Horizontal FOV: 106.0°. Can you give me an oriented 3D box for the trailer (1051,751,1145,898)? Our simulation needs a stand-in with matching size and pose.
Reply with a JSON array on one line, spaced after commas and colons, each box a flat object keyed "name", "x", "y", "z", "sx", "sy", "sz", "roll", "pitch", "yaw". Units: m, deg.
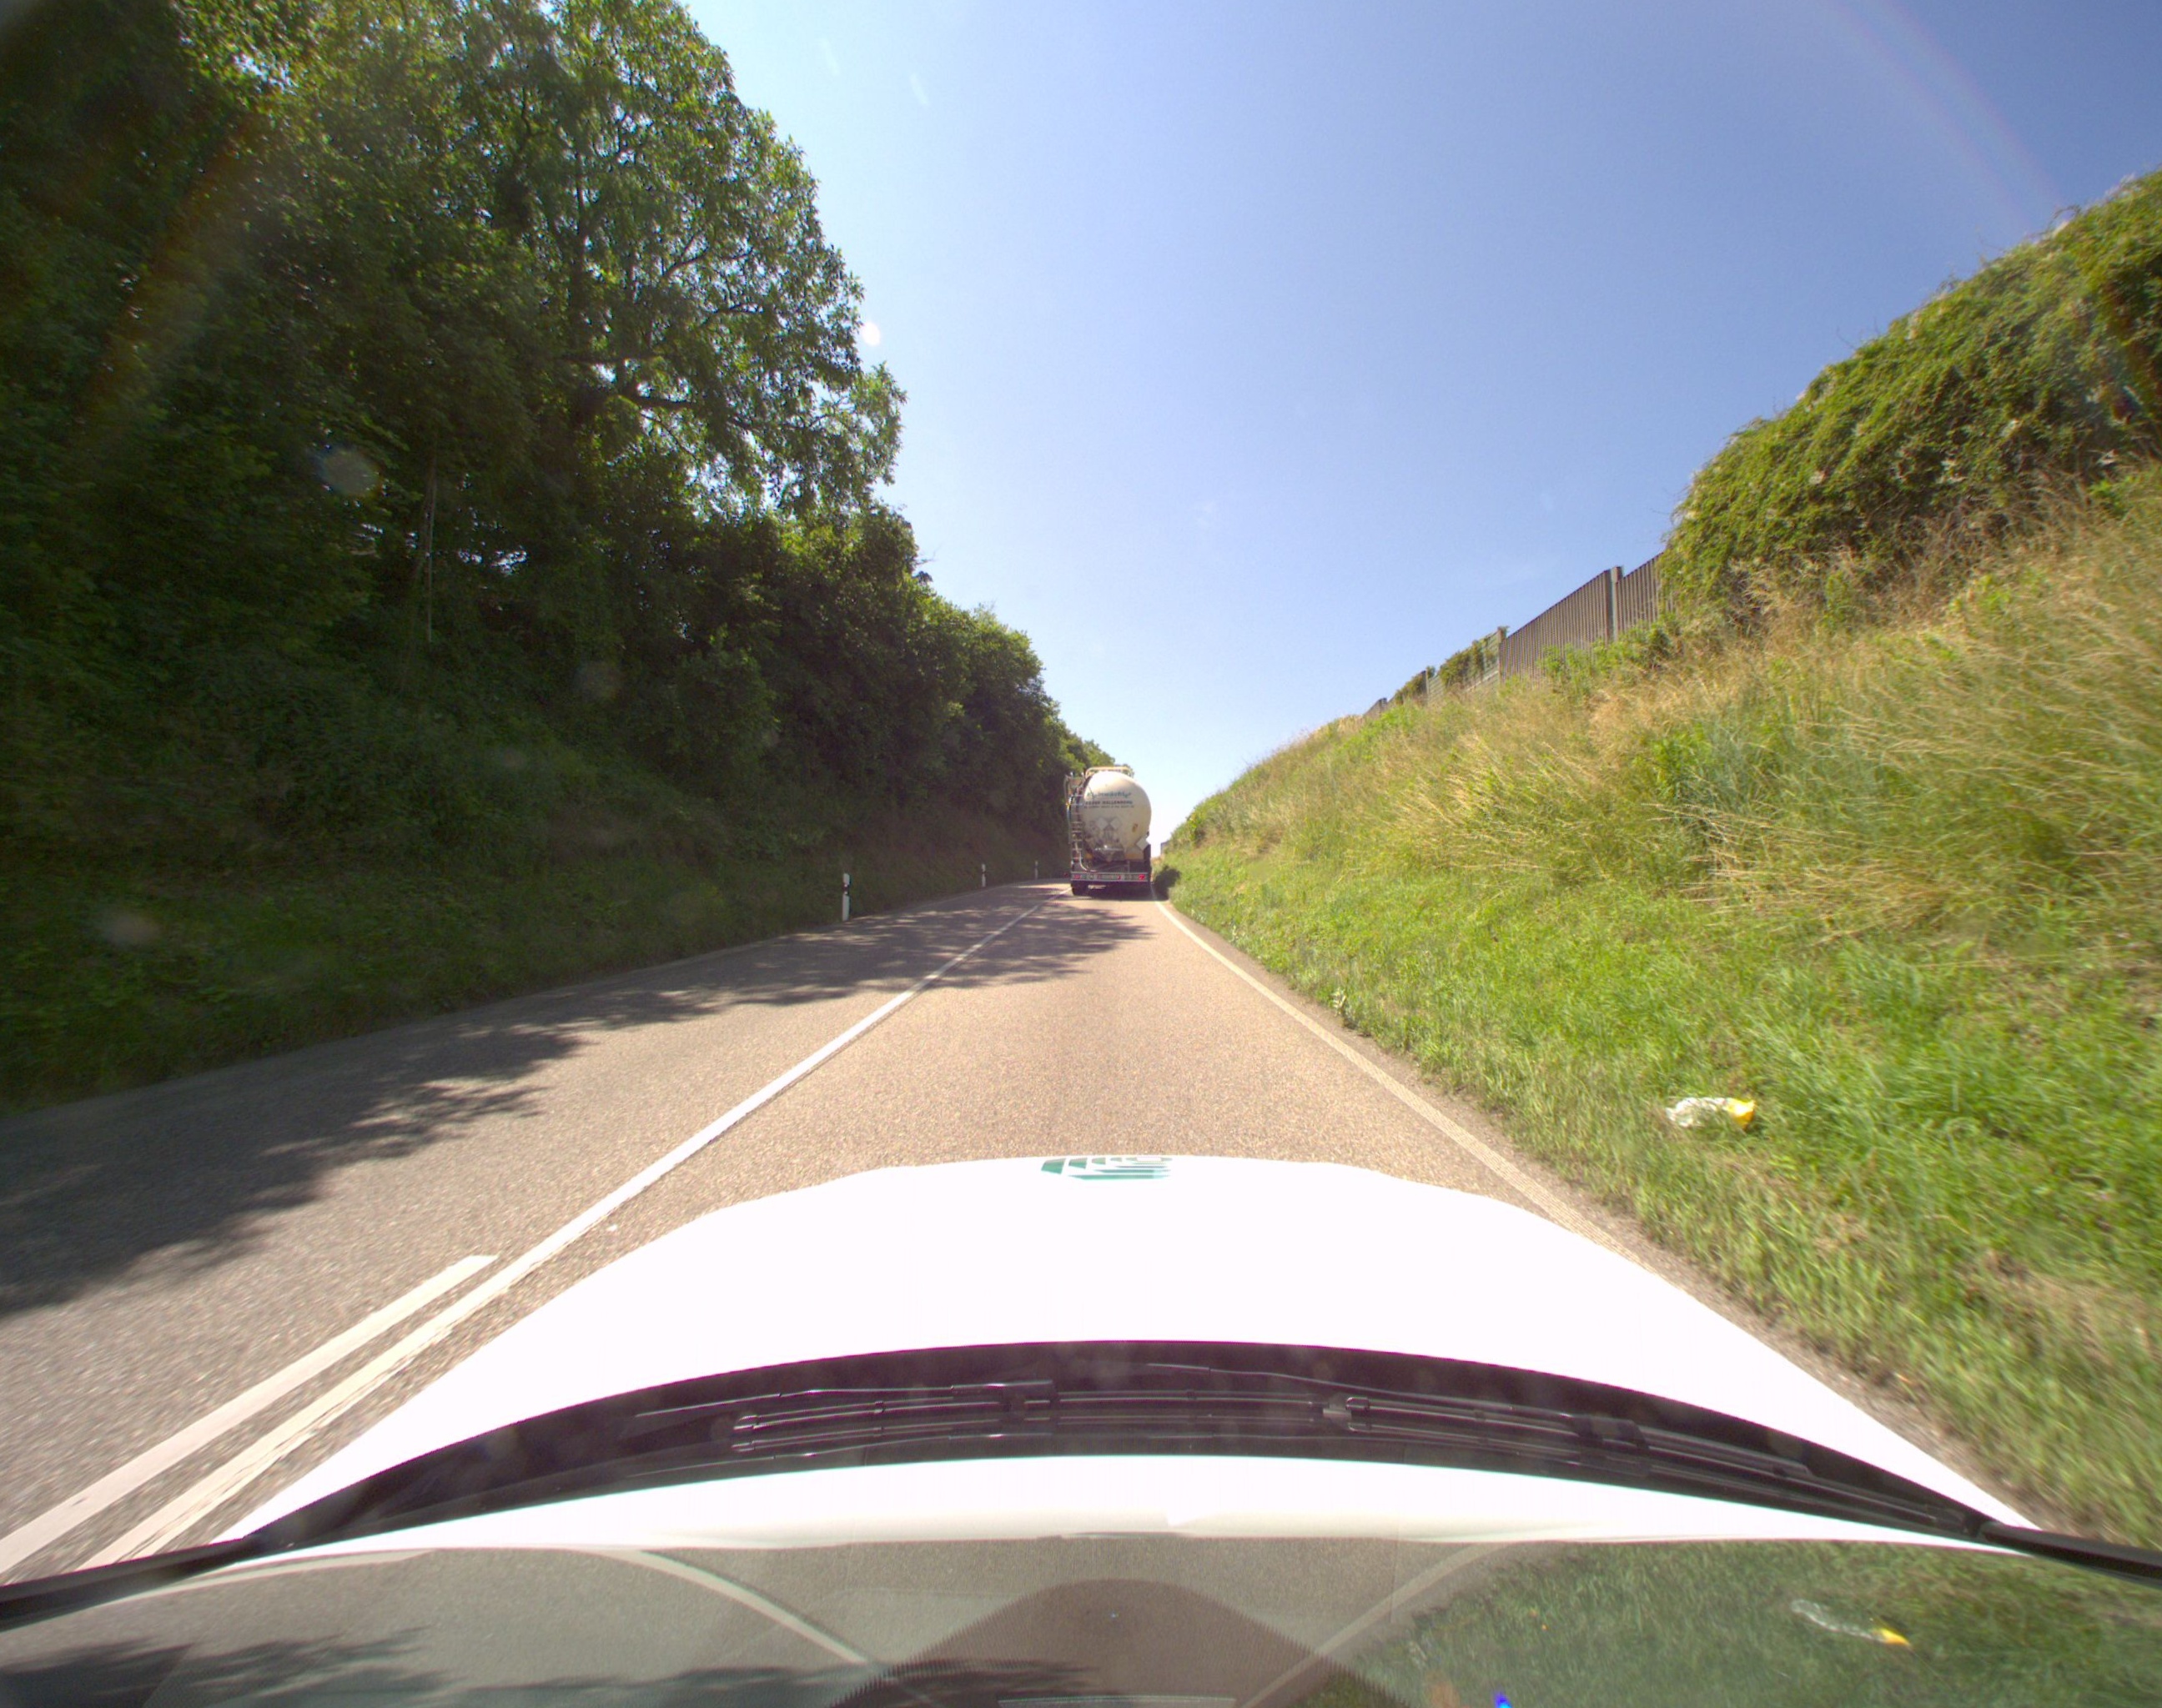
[{"name": "trailer", "x": 0.813, "y": -0.885, "z": 29.380, "sx": 2.650, "sy": 4.188, "sz": 11.914, "roll": -1, "pitch": 0, "yaw": 3}]

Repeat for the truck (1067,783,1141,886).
[{"name": "truck", "x": 1.165, "y": -0.764, "z": 35.264, "sx": 2.714, "sy": 3.929, "sz": 7.273, "roll": -1, "pitch": 0, "yaw": 5}]

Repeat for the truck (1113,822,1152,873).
[{"name": "truck", "x": 4.900, "y": -0.593, "z": 77.020, "sx": 3.176, "sy": 4.309, "sz": 11.812, "roll": 2, "pitch": 0, "yaw": 4}]
